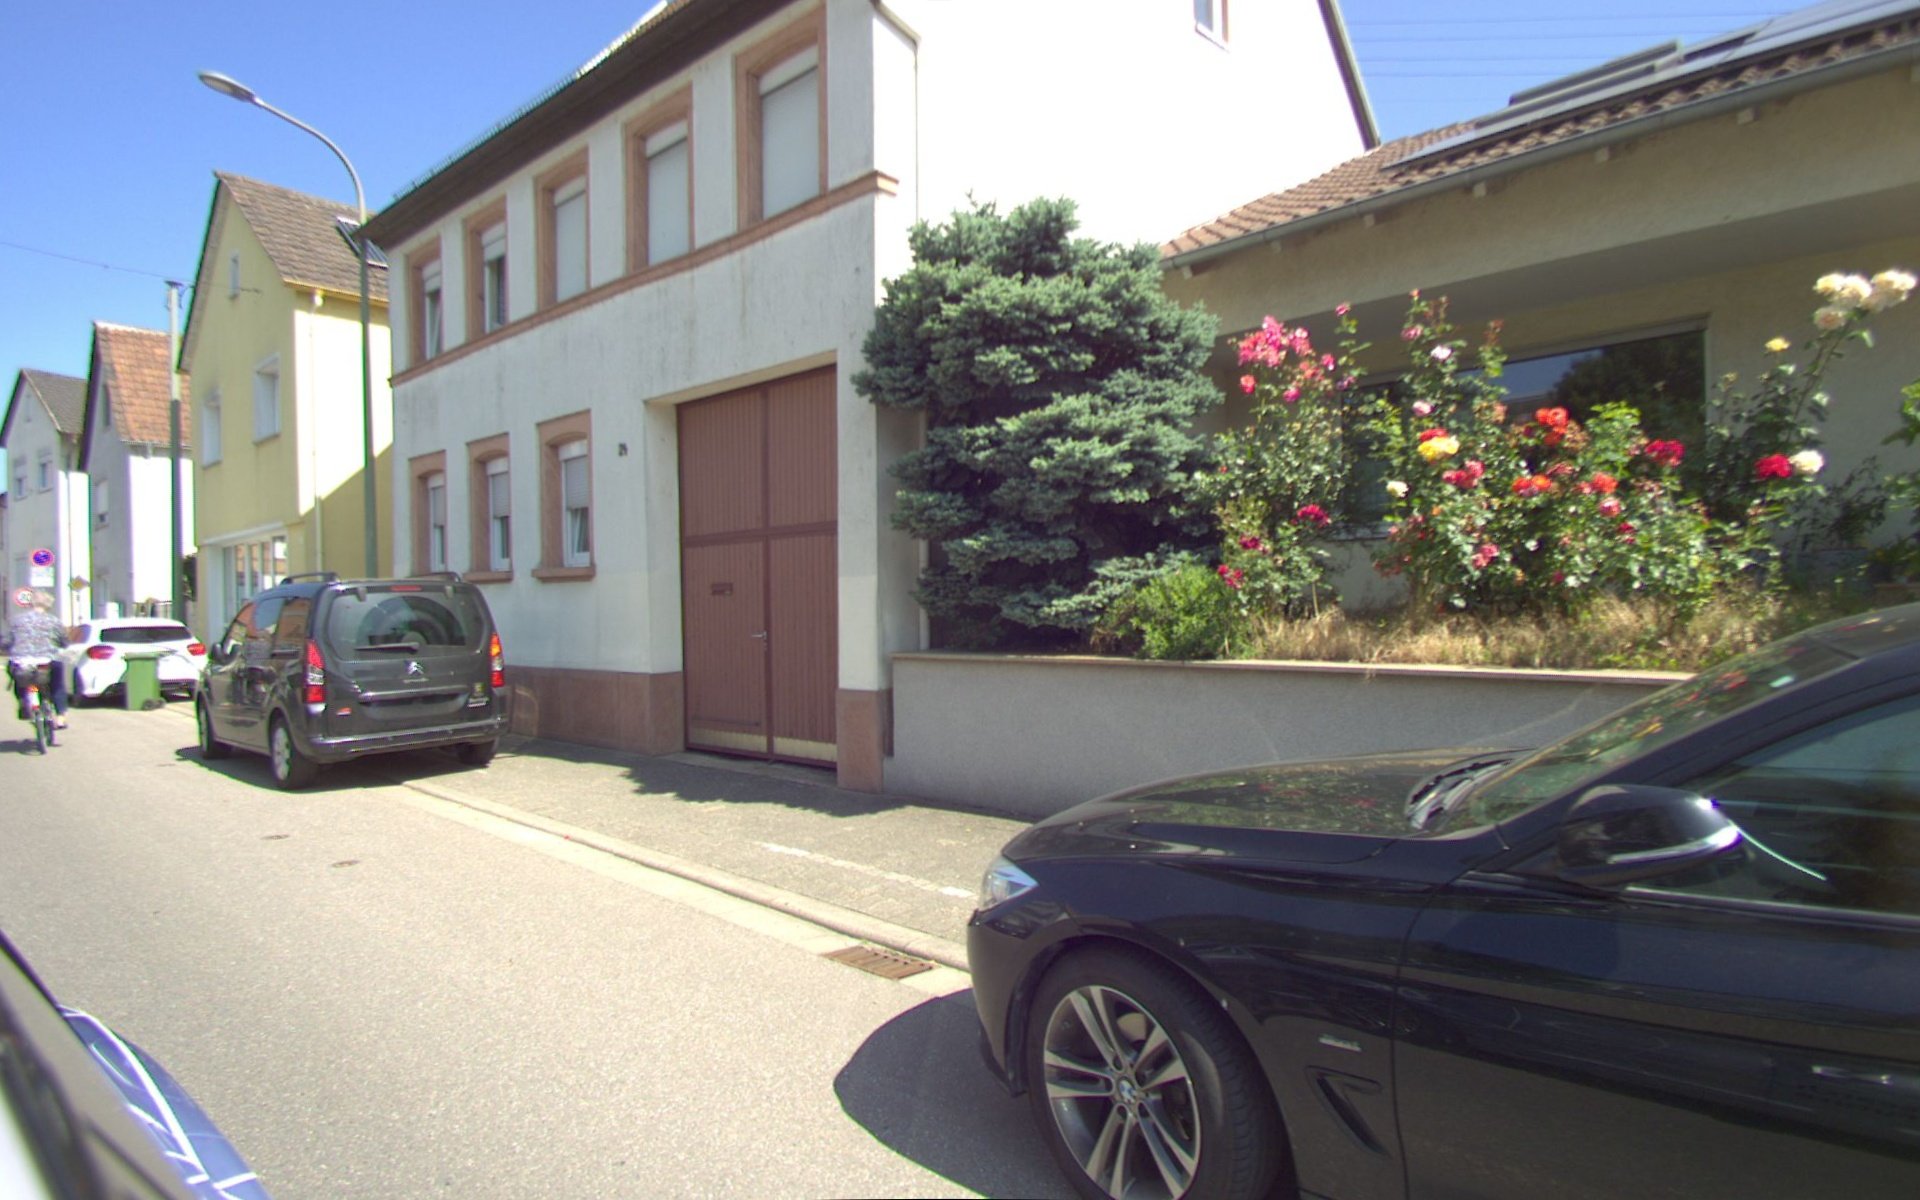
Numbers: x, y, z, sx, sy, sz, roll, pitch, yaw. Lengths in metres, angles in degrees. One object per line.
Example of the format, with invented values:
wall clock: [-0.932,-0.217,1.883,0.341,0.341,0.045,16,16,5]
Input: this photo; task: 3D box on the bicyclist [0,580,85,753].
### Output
bicyclist: [-10.048,0.695,10.964,0.624,1.784,0.697,-2,1,38]

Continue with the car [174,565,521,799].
car: [-6.283,0.677,10.154,4.353,1.851,1.815,-1,0,43]

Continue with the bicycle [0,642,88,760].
bicycle: [-10.078,1.050,10.986,1.946,1.157,0.583,-2,-1,39]

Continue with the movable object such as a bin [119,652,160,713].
movable object such as a bin: [-12.934,1.292,15.959,0.419,0.911,0.497,-1,0,-30]

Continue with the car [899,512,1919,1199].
car: [2.208,0.628,1.843,4.764,1.538,1.824,-1,0,43]

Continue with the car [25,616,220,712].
car: [-14.793,1.043,17.800,4.265,1.475,1.817,-1,-1,39]
